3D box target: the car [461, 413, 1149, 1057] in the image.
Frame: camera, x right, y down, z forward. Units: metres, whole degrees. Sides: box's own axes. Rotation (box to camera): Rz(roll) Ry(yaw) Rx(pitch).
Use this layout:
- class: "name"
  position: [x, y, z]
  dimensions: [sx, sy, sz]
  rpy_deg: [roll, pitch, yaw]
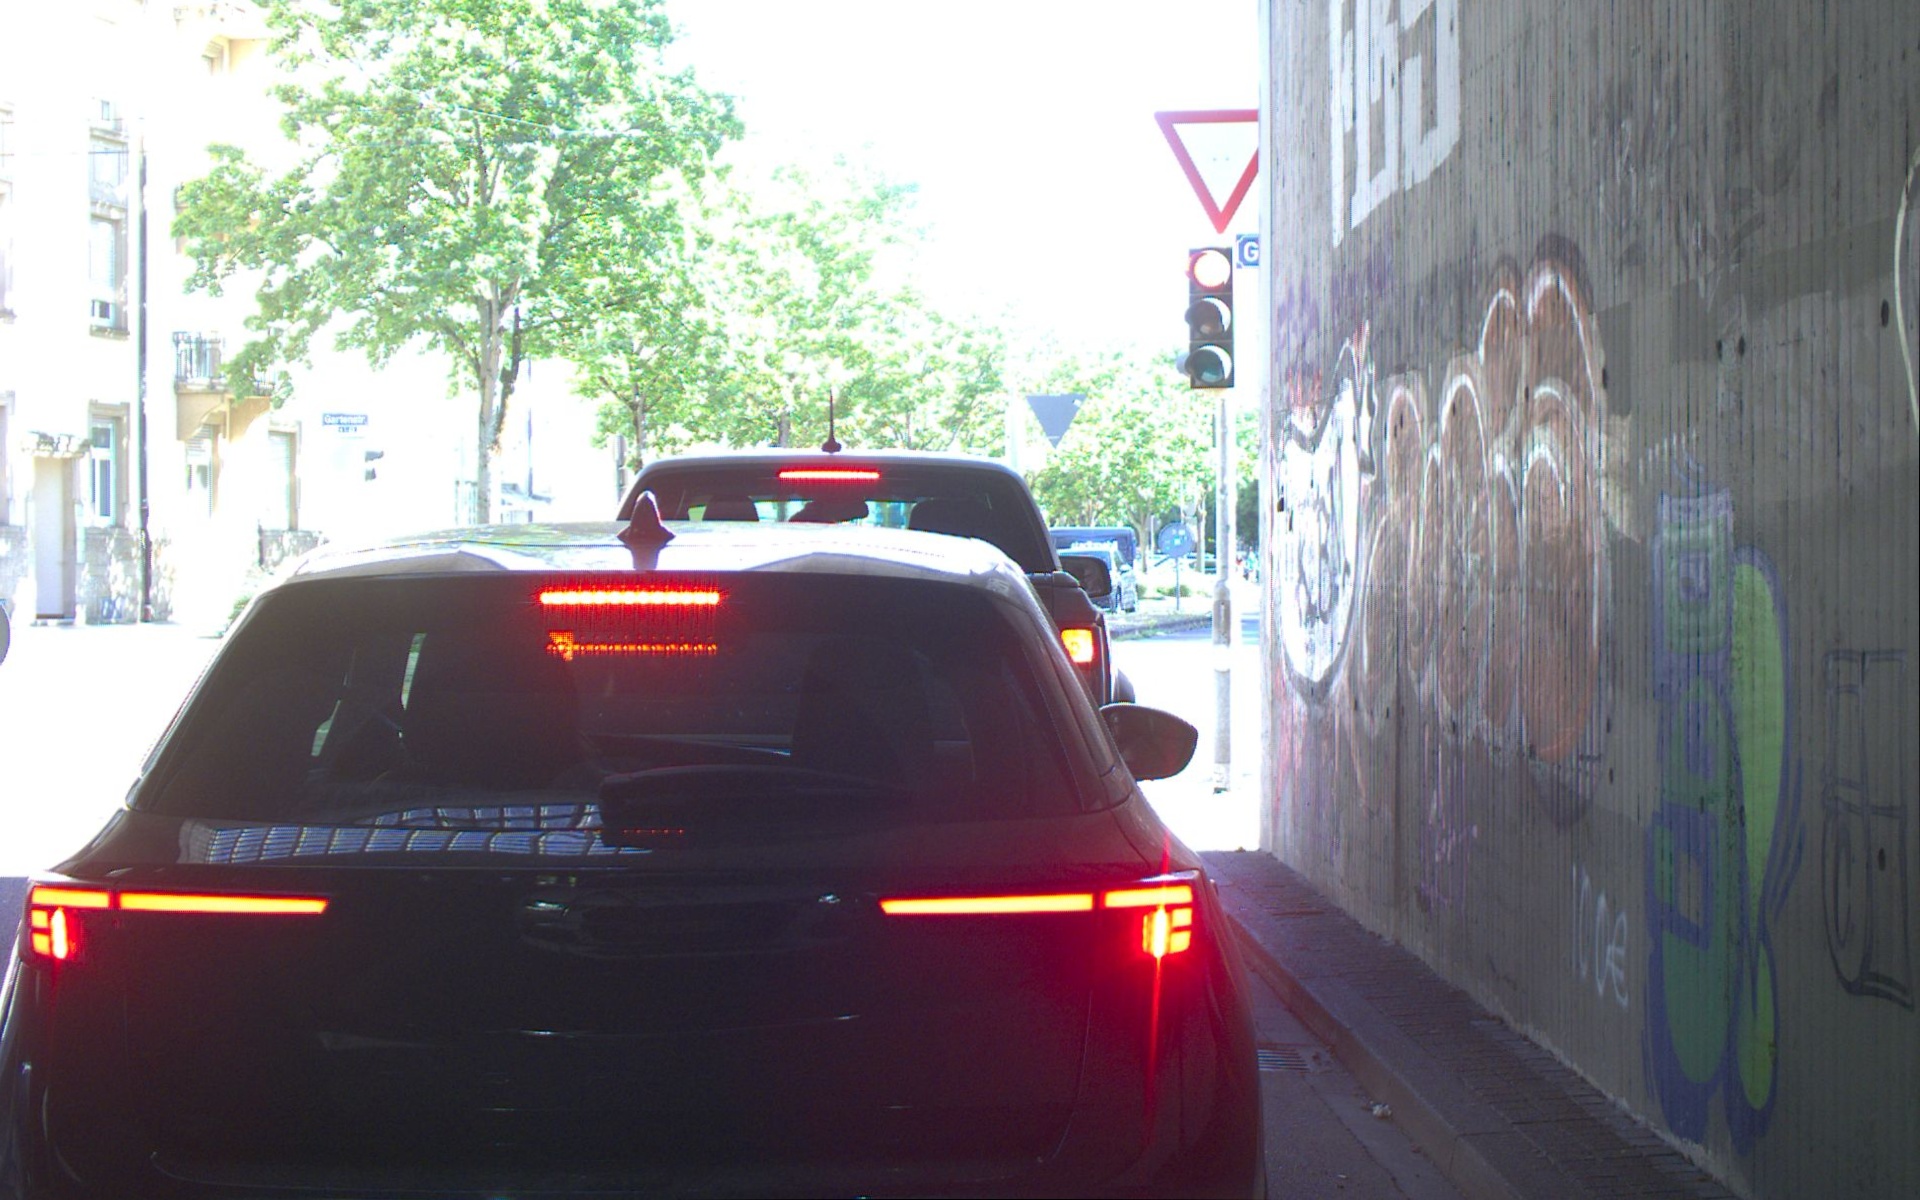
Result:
- class: "car"
  position: [-0.471, 0.355, 12.028]
  dimensions: [1.993, 1.865, 4.000]
  rpy_deg: [0, 1, -1]

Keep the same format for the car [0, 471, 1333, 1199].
- class: "car"
  position: [-0.485, 0.572, 5.989]
  dimensions: [1.764, 1.566, 4.001]
  rpy_deg: [1, 2, -1]

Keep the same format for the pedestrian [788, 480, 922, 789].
- class: "pedestrian"
  position: [-0.596, 0.189, 19.804]
  dimensions: [0.731, 1.728, 0.874]
  rpy_deg: [1, 0, -1]

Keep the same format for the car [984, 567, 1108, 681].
- class: "car"
  position: [1.592, 0.406, 62.357]
  dimensions: [1.994, 1.963, 4.163]
  rpy_deg: [1, 1, 5]

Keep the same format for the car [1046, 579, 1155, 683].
- class: "car"
  position: [2.834, 0.588, 68.496]
  dimensions: [1.994, 1.963, 4.163]
  rpy_deg: [1, 1, 5]
